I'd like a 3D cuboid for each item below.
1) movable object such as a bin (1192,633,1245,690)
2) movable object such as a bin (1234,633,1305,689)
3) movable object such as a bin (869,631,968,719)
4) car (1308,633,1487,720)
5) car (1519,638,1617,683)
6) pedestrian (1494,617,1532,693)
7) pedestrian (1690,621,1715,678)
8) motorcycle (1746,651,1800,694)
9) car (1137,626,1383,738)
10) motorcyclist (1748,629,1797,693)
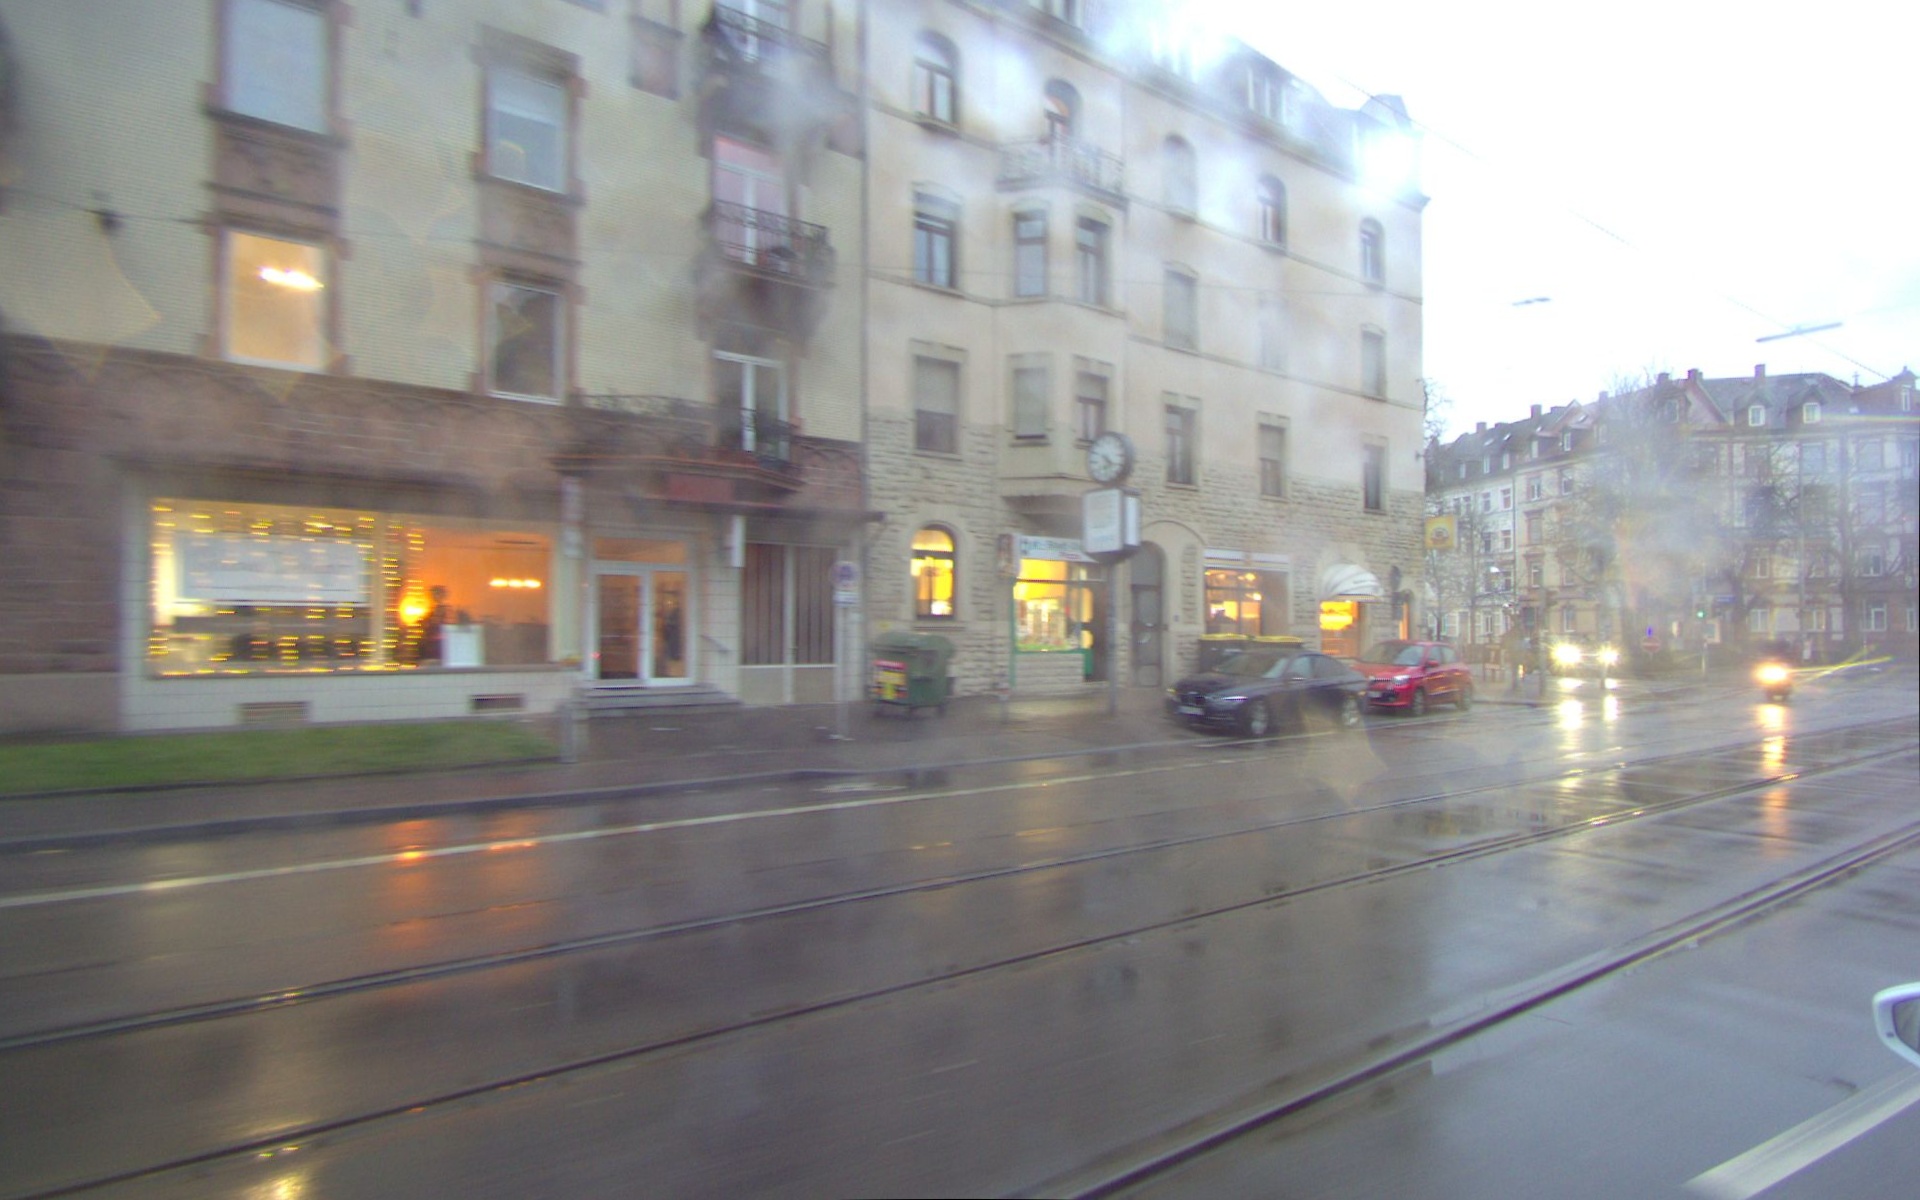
[{"bbox_3d":[6.567,1.538,25.536,0.996,1.395,0.893,1,-2,-34],"label":"movable object such as a bin"},{"bbox_3d":[7.986,1.546,25.950,1.240,1.385,1.285,1,-2,-35],"label":"movable object such as a bin"},{"bbox_3d":[-0.732,1.262,17.372,1.237,1.439,1.260,1,-2,-34],"label":"movable object such as a bin"},{"bbox_3d":[9.747,1.609,22.275,3.998,1.572,2.020,1,2,-40],"label":"car"},{"bbox_3d":[24.835,2.444,41.185,1.981,1.695,4.003,0,-2,8],"label":"car"},{"bbox_3d":[15.256,1.509,27.705,0.635,2.040,0.758,1,-1,2],"label":"pedestrian"},{"bbox_3d":[26.969,1.805,36.507,0.695,2.040,0.658,-1,-2,36],"label":"pedestrian"},{"bbox_3d":[20.470,1.801,25.281,0.847,1.005,1.907,-1,-2,45],"label":"motorcycle"},{"bbox_3d":[5.599,1.440,18.497,4.589,1.667,1.971,3,2,-38],"label":"car"},{"bbox_3d":[20.377,1.504,25.188,0.835,1.569,1.008,-1,-2,45],"label":"motorcyclist"}]
